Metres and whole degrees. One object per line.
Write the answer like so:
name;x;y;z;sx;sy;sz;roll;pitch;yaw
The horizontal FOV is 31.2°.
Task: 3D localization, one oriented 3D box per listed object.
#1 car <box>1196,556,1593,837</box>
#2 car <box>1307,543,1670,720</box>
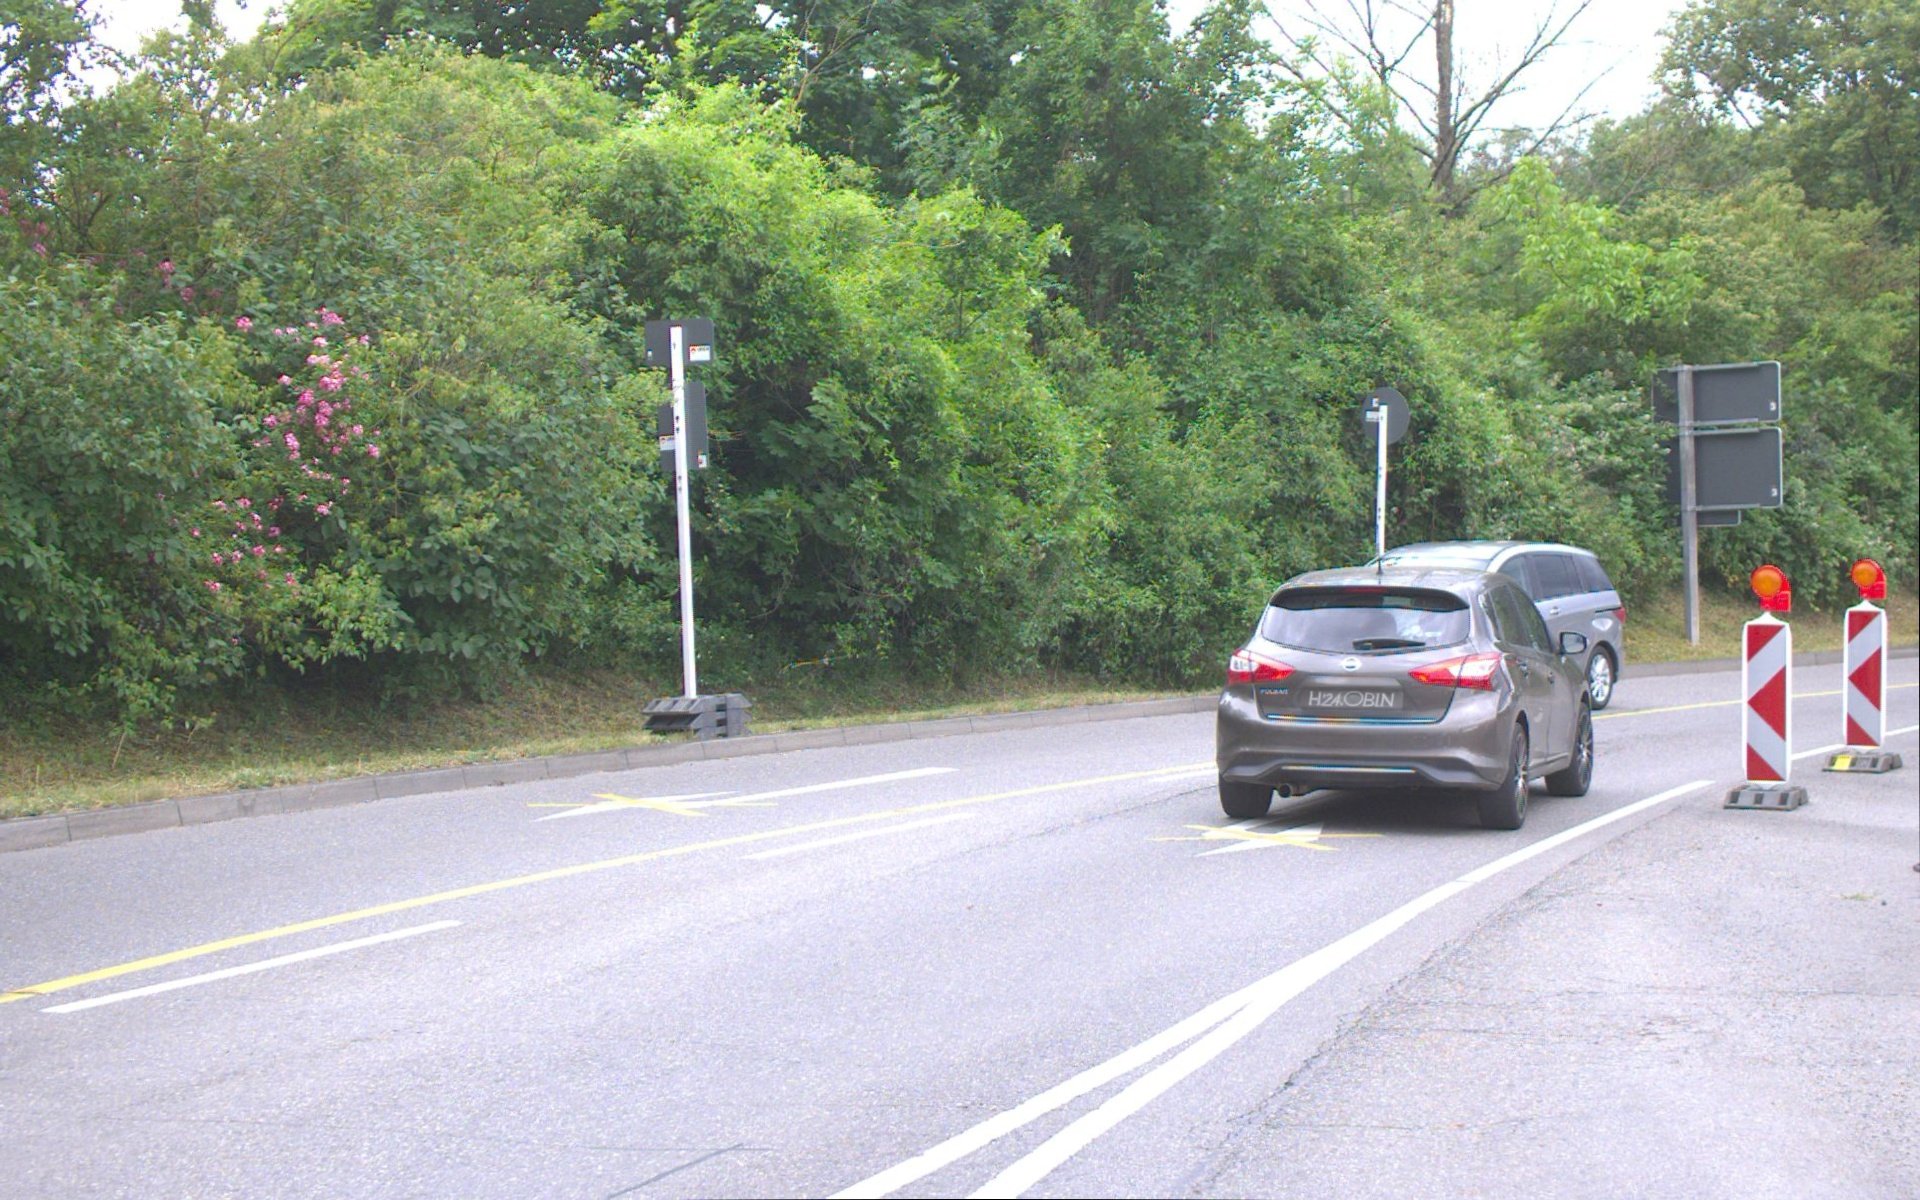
car;2.798;0.515;21.413;1.799;1.547;3.997;1;1;17
car;5.015;0.268;32.164;1.635;1.539;4.342;0;0;34
